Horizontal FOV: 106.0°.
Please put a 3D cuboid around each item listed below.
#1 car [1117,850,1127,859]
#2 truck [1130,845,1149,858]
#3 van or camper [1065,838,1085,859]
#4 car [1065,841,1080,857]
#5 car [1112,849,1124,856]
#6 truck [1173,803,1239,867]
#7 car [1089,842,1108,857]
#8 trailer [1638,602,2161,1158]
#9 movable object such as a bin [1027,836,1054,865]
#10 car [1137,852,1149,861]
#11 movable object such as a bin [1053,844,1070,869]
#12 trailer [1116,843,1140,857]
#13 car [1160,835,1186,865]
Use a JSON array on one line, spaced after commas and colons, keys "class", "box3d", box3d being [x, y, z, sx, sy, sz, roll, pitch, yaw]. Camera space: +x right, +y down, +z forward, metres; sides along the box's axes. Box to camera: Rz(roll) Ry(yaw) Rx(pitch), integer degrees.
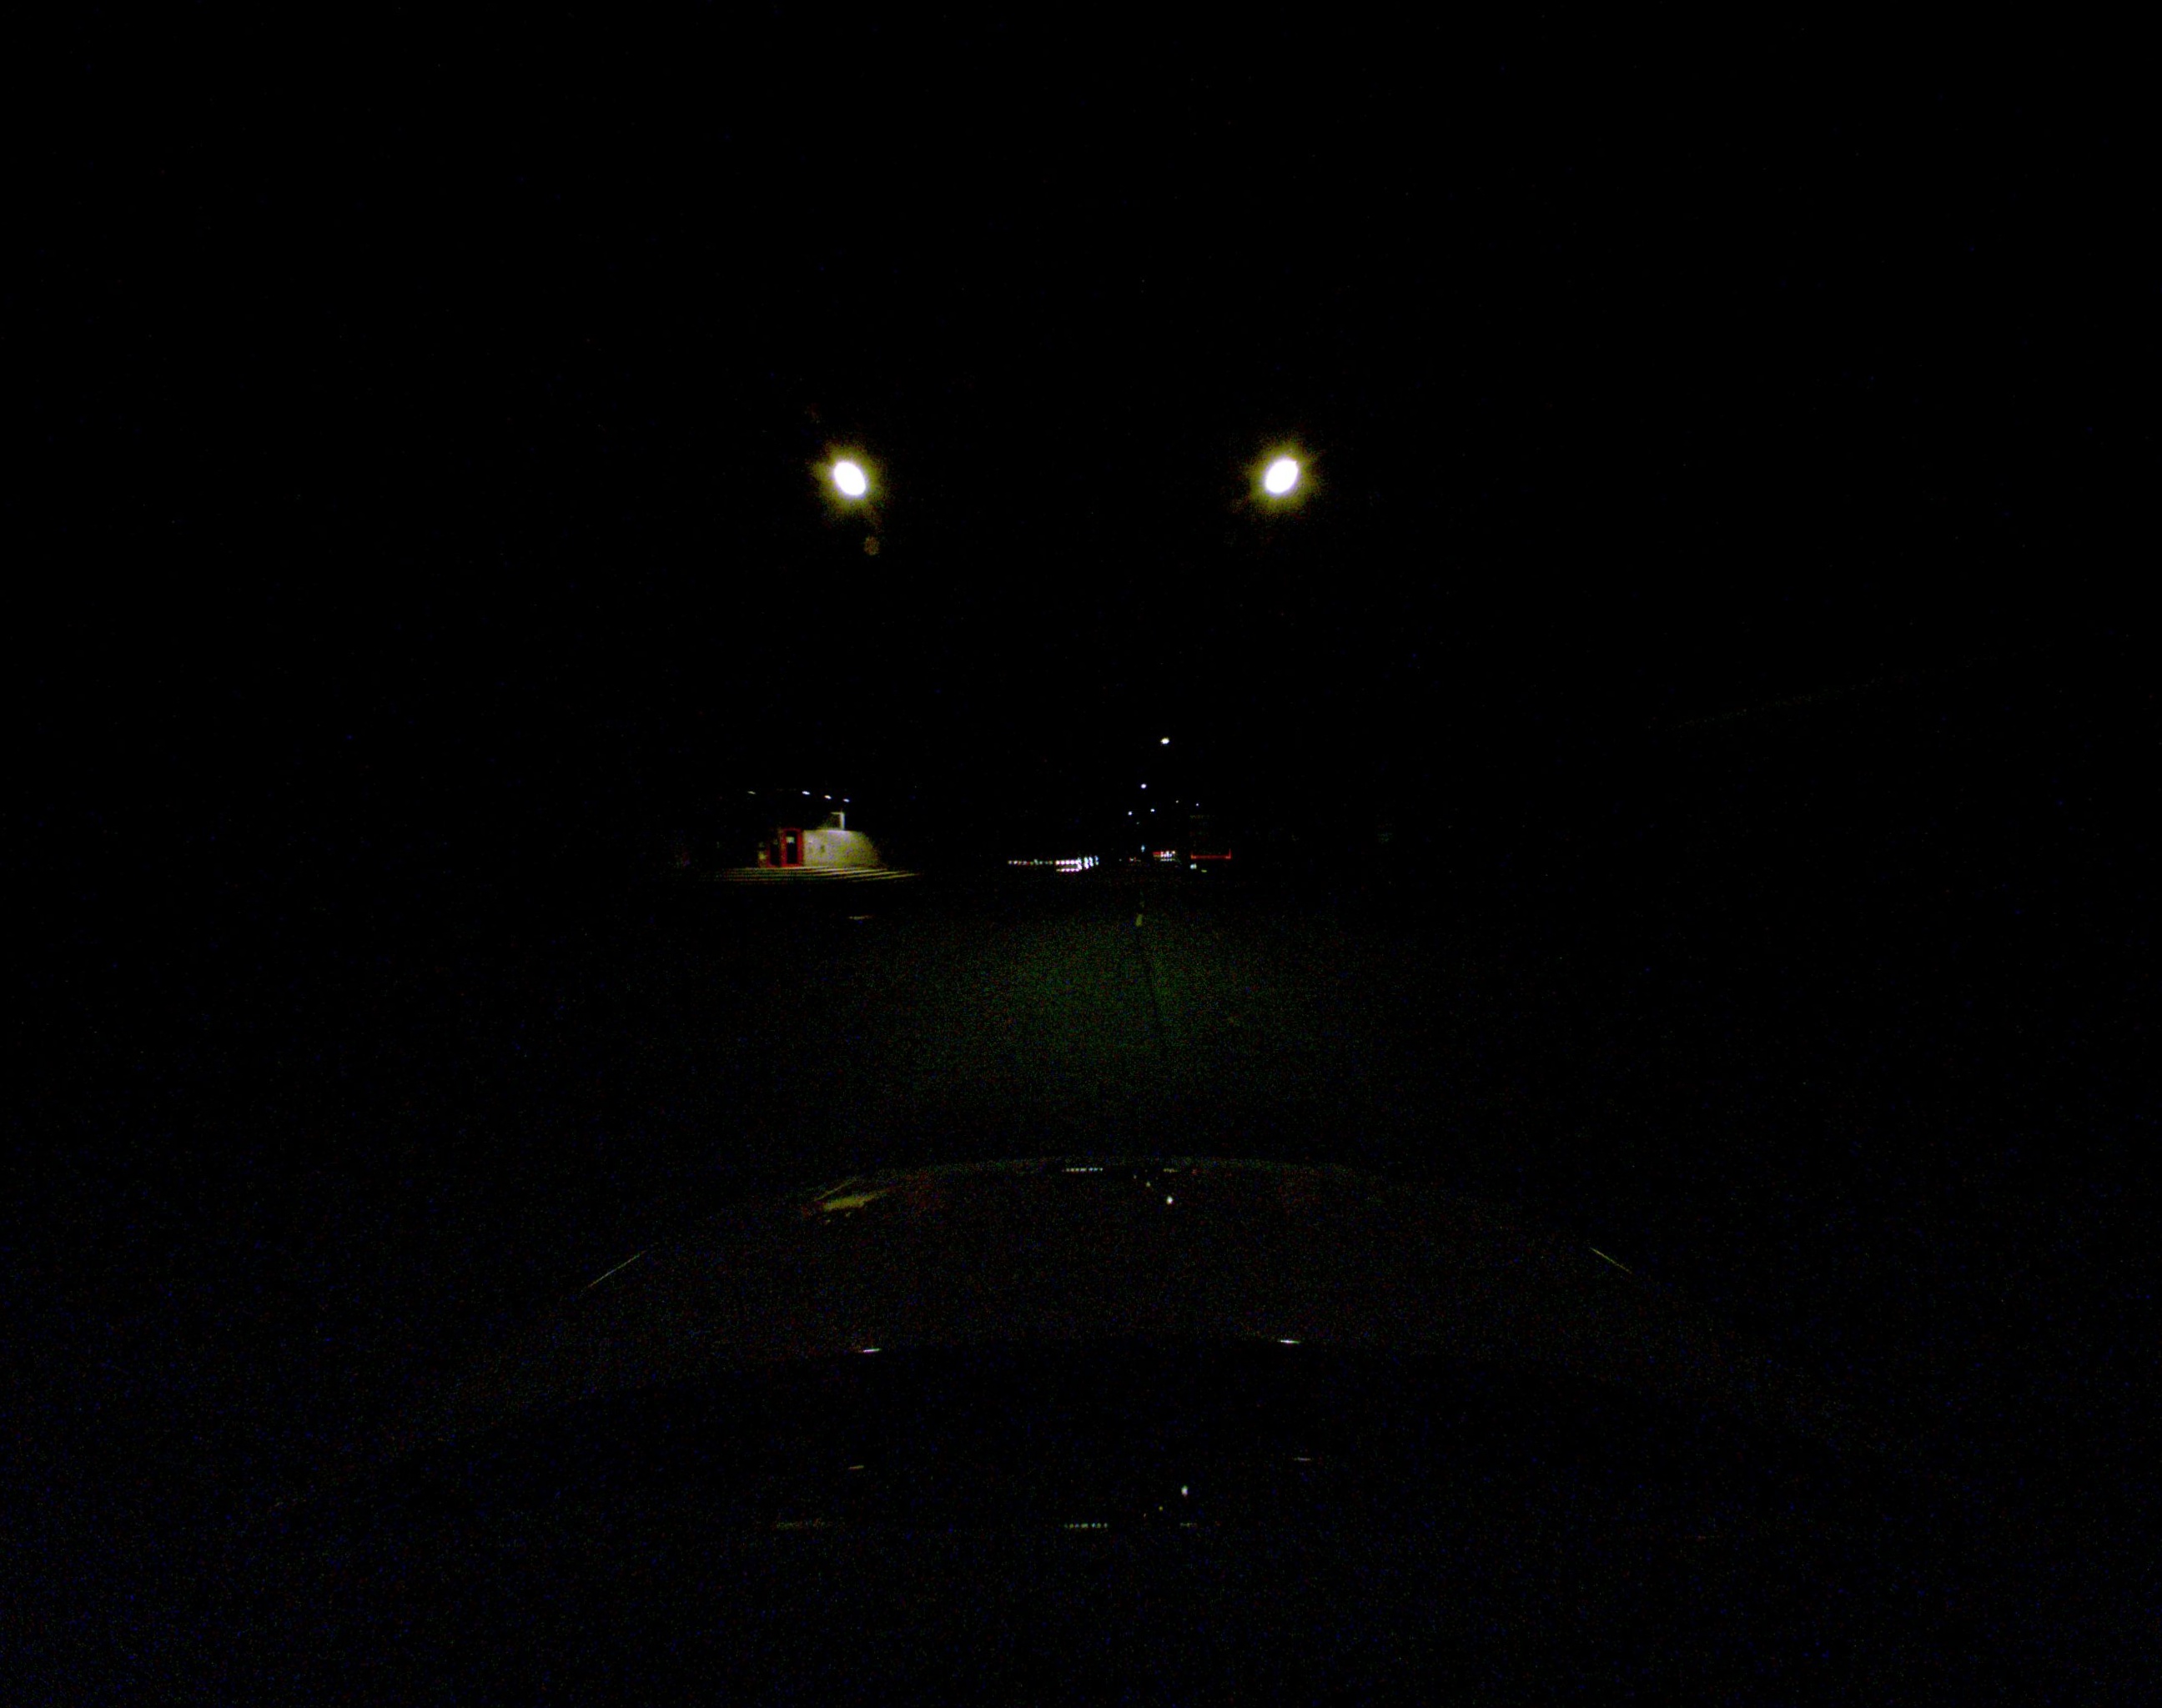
[{"class": "car", "box3d": [7.400, 0.113, 146.747, 1.713, 1.661, 4.003, 1, -1, 3]}, {"class": "truck", "box3d": [15.681, -0.623, 217.555, 1.975, 3.404, 9.032, 1, 0, 26]}, {"class": "van or camper", "box3d": [-0.891, -0.762, 129.000, 2.508, 3.094, 7.452, -2, -1, 4]}, {"class": "car", "box3d": [-1.492, -0.875, 153.683, 2.510, 2.927, 7.202, -2, -1, 1]}, {"class": "car", "box3d": [8.998, -0.368, 199.256, 1.978, 1.699, 4.225, 0, -1, 17]}, {"class": "truck", "box3d": [8.143, -1.128, 54.375, 3.311, 3.868, 9.333, 0, 0, 2]}, {"class": "car", "box3d": [4.039, -1.019, 183.611, 2.500, 3.171, 7.168, -2, -1, 16]}, {"class": "trailer", "box3d": [6.198, 0.121, 5.806, 1.984, 2.651, 4.006, 1, 0, 5]}, {"class": "movable object such as a bin", "box3d": [-3.588, -0.267, 71.742, 1.553, 2.467, 2.822, -1, -1, -18]}, {"class": "car", "box3d": [13.347, 0.450, 174.930, 1.707, 1.821, 4.018, 0, -1, 18]}, {"class": "movable object such as a bin", "box3d": [-2.191, 0.281, 91.310, 1.568, 2.734, 3.695, -3, 1, -4]}, {"class": "trailer", "box3d": [7.520, -0.622, 131.900, 1.567, 2.161, 5.178, -1, -1, -25]}, {"class": "car", "box3d": [7.993, -0.376, 71.399, 2.098, 2.516, 6.380, 1, 0, 5]}]
